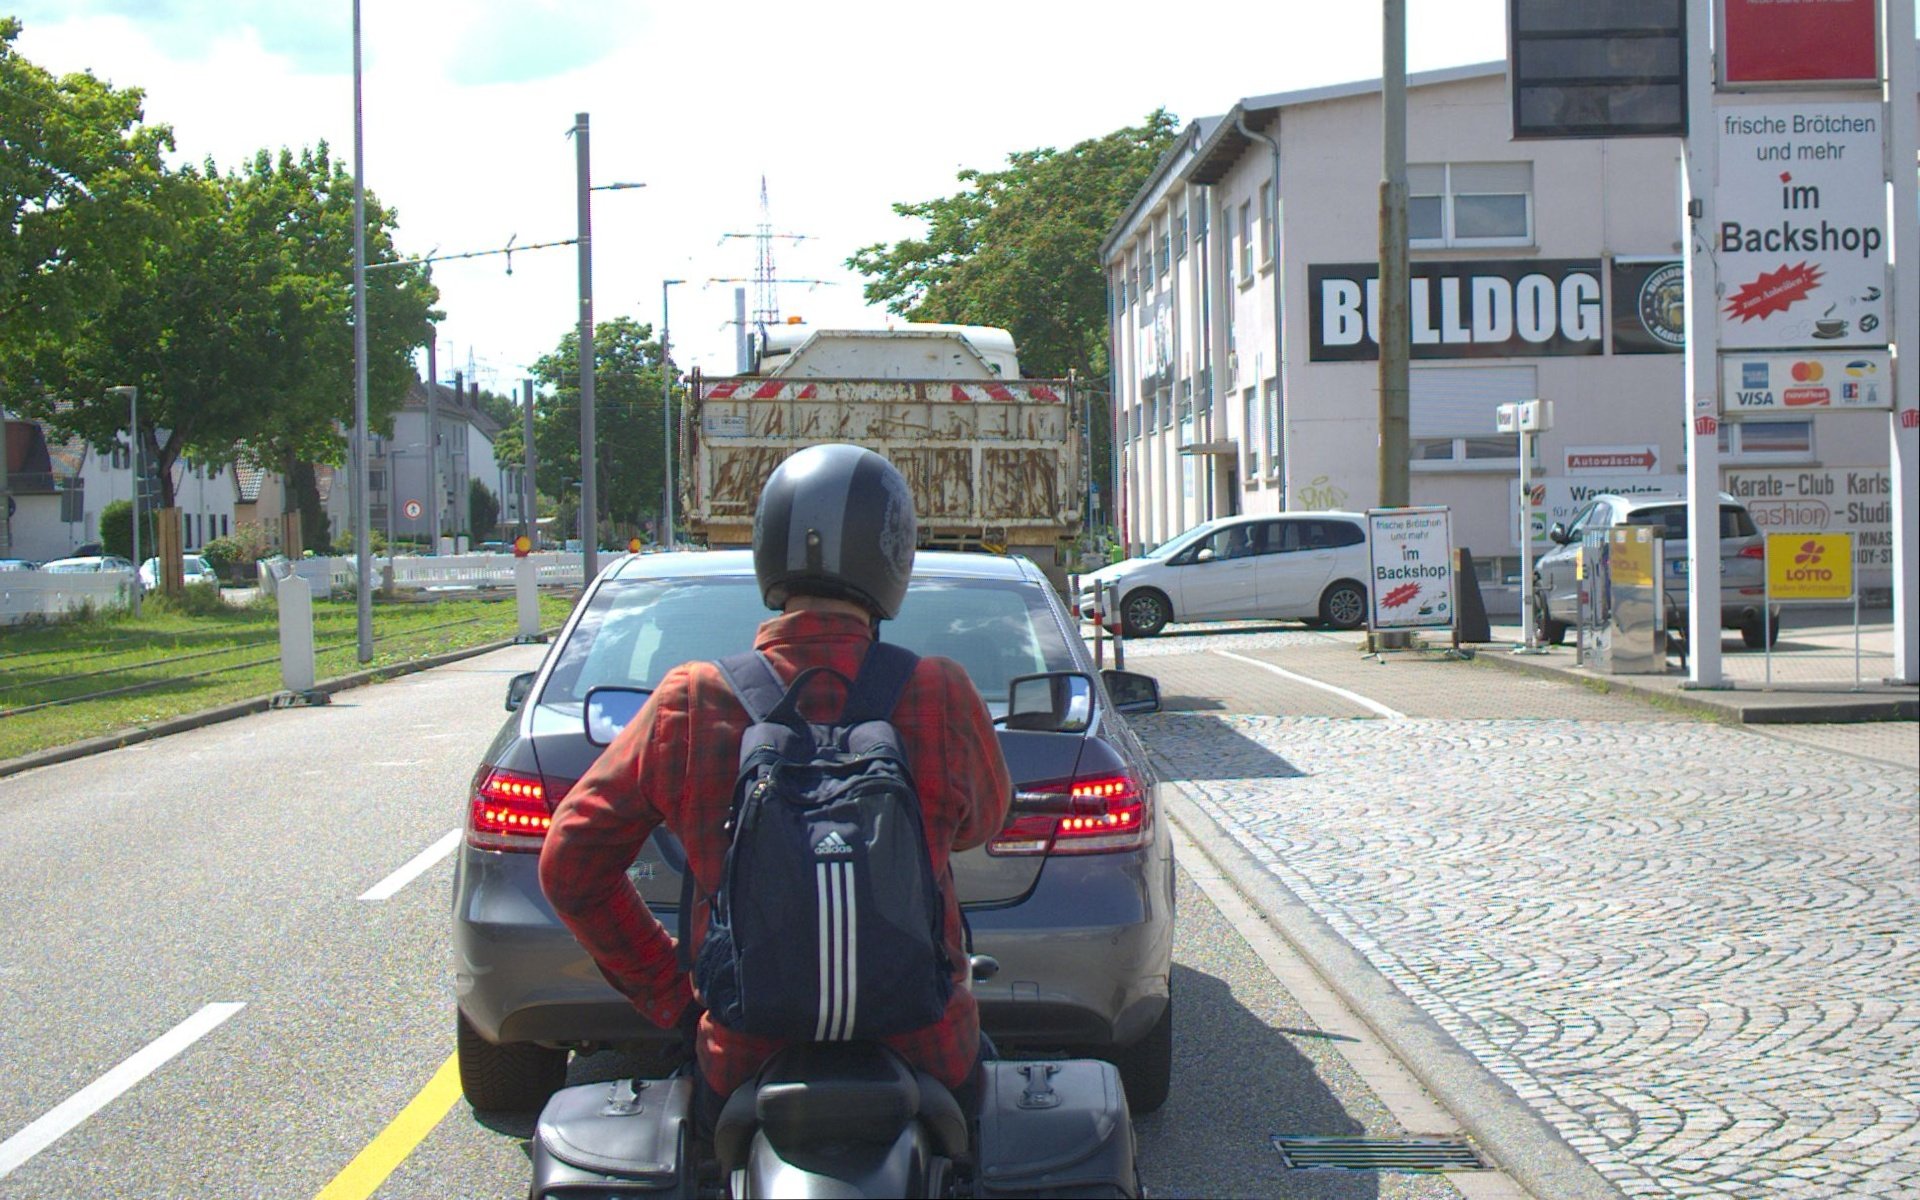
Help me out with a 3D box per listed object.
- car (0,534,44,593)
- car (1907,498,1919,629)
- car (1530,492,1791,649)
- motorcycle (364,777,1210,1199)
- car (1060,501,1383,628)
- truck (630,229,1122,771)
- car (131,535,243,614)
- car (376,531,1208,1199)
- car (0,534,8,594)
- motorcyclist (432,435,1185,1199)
[{"bbox_3d":[-29.264,-1.111,104.586,1.698,1.733,4.062,-1,1,0],"label":"car"},{"bbox_3d":[11.788,-0.399,37.240,1.832,1.474,4.010,-1,1,-2],"label":"car"},{"bbox_3d":[7.405,-0.342,36.704,1.832,1.530,4.010,-1,1,-2],"label":"car"},{"bbox_3d":[-0.218,0.866,5.204,0.976,1.010,2.432,1,1,-1],"label":"motorcycle"},{"bbox_3d":[3.550,-0.499,47.028,4.104,1.619,1.686,-1,1,-8],"label":"car"},{"bbox_3d":[-0.635,-0.713,25.465,2.970,3.293,8.408,-1,1,-2],"label":"truck"},{"bbox_3d":[-17.895,-0.620,79.734,1.698,1.733,3.860,-1,1,0],"label":"car"},{"bbox_3d":[-0.431,0.569,9.731,1.832,1.474,4.010,-1,1,-2],"label":"car"},{"bbox_3d":[-28.668,-0.995,98.362,1.698,1.733,4.062,-1,1,0],"label":"car"},{"bbox_3d":[-0.207,0.591,5.082,0.969,1.627,1.215,1,1,-1],"label":"motorcyclist"}]
